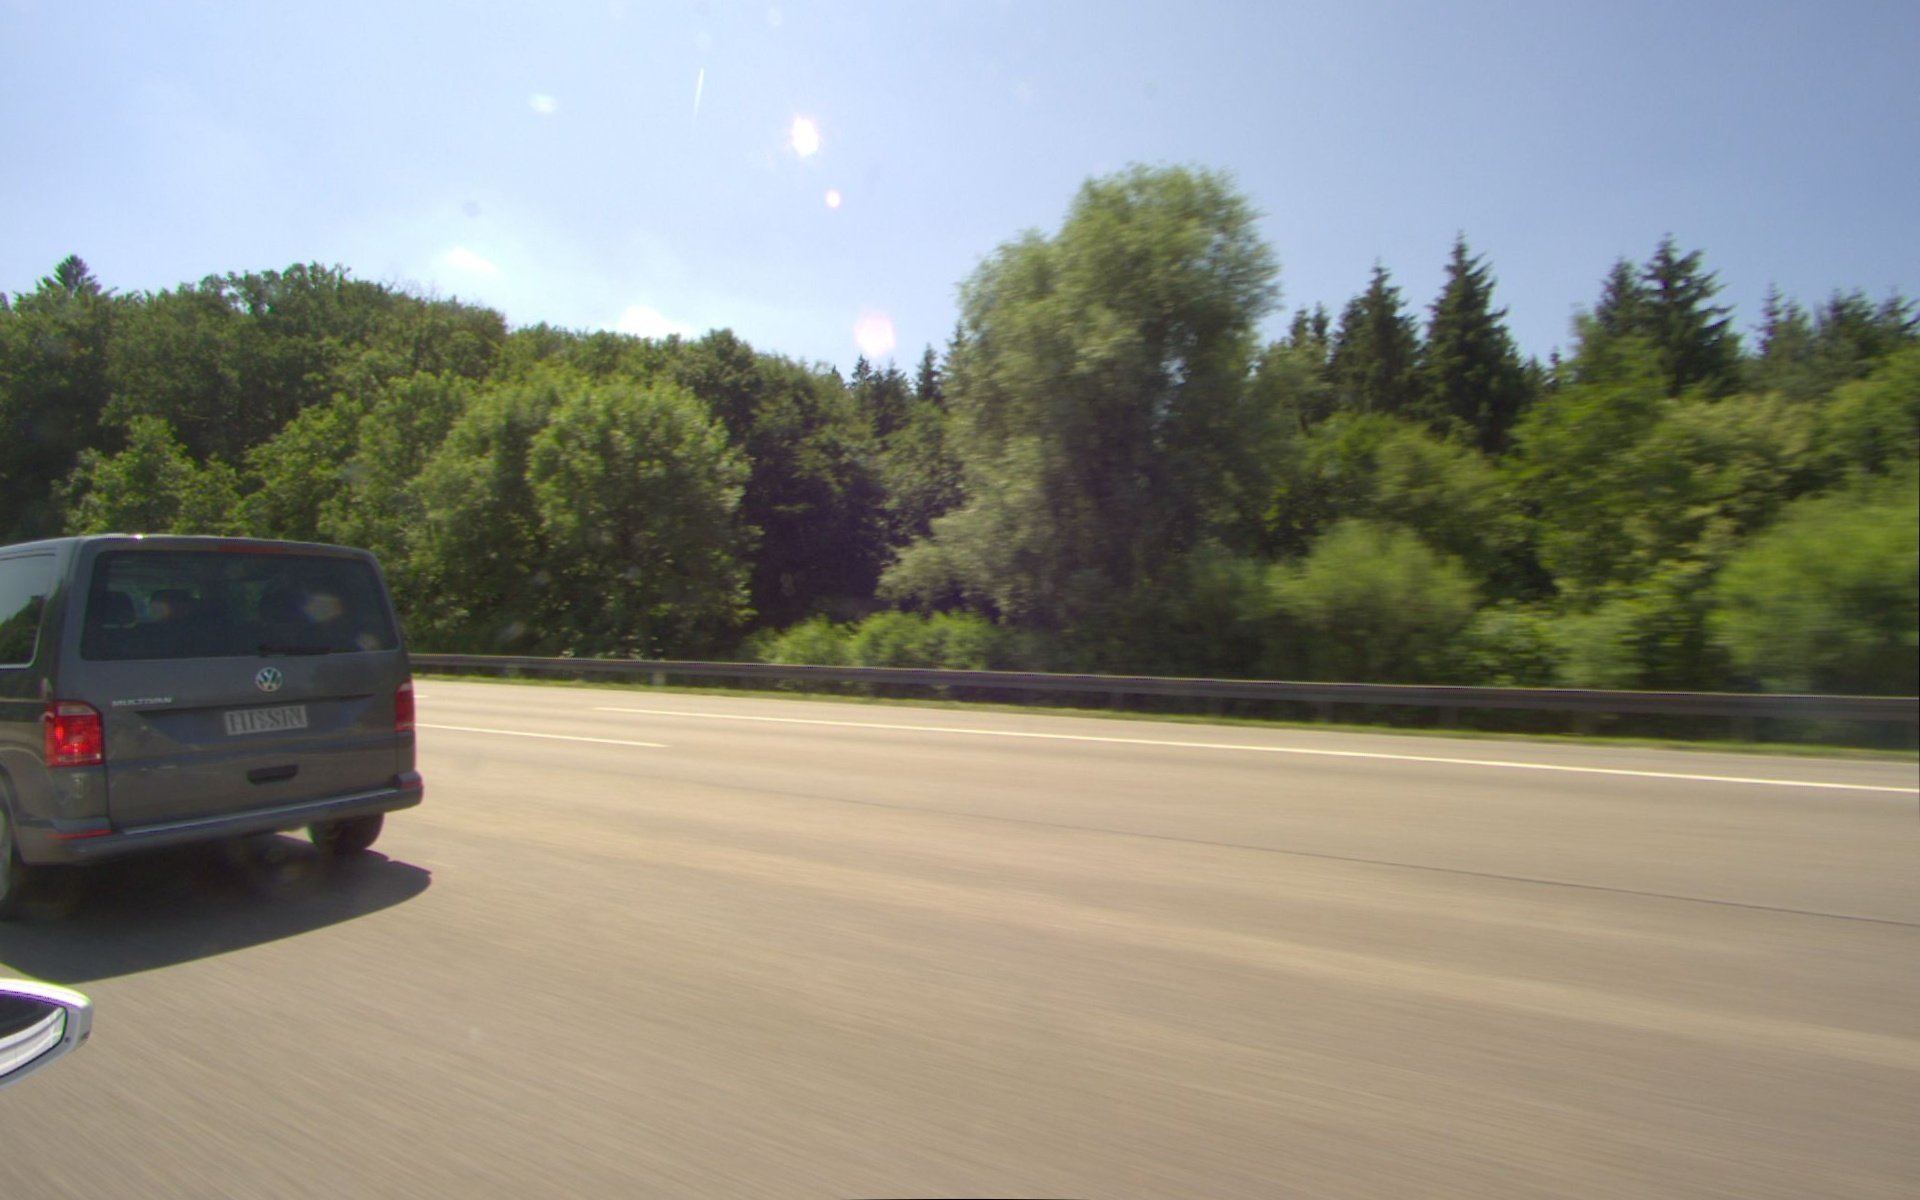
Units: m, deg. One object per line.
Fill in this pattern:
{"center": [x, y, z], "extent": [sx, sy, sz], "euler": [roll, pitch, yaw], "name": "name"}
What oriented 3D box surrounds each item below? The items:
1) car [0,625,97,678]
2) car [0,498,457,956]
{"center": [-27.890, 1.527, 30.156], "extent": [4.276, 1.462, 1.542], "euler": [-2, -1, 30], "name": "car"}
{"center": [-5.738, 0.634, 6.683], "extent": [5.010, 2.059, 1.959], "euler": [-1, -1, 32], "name": "car"}
